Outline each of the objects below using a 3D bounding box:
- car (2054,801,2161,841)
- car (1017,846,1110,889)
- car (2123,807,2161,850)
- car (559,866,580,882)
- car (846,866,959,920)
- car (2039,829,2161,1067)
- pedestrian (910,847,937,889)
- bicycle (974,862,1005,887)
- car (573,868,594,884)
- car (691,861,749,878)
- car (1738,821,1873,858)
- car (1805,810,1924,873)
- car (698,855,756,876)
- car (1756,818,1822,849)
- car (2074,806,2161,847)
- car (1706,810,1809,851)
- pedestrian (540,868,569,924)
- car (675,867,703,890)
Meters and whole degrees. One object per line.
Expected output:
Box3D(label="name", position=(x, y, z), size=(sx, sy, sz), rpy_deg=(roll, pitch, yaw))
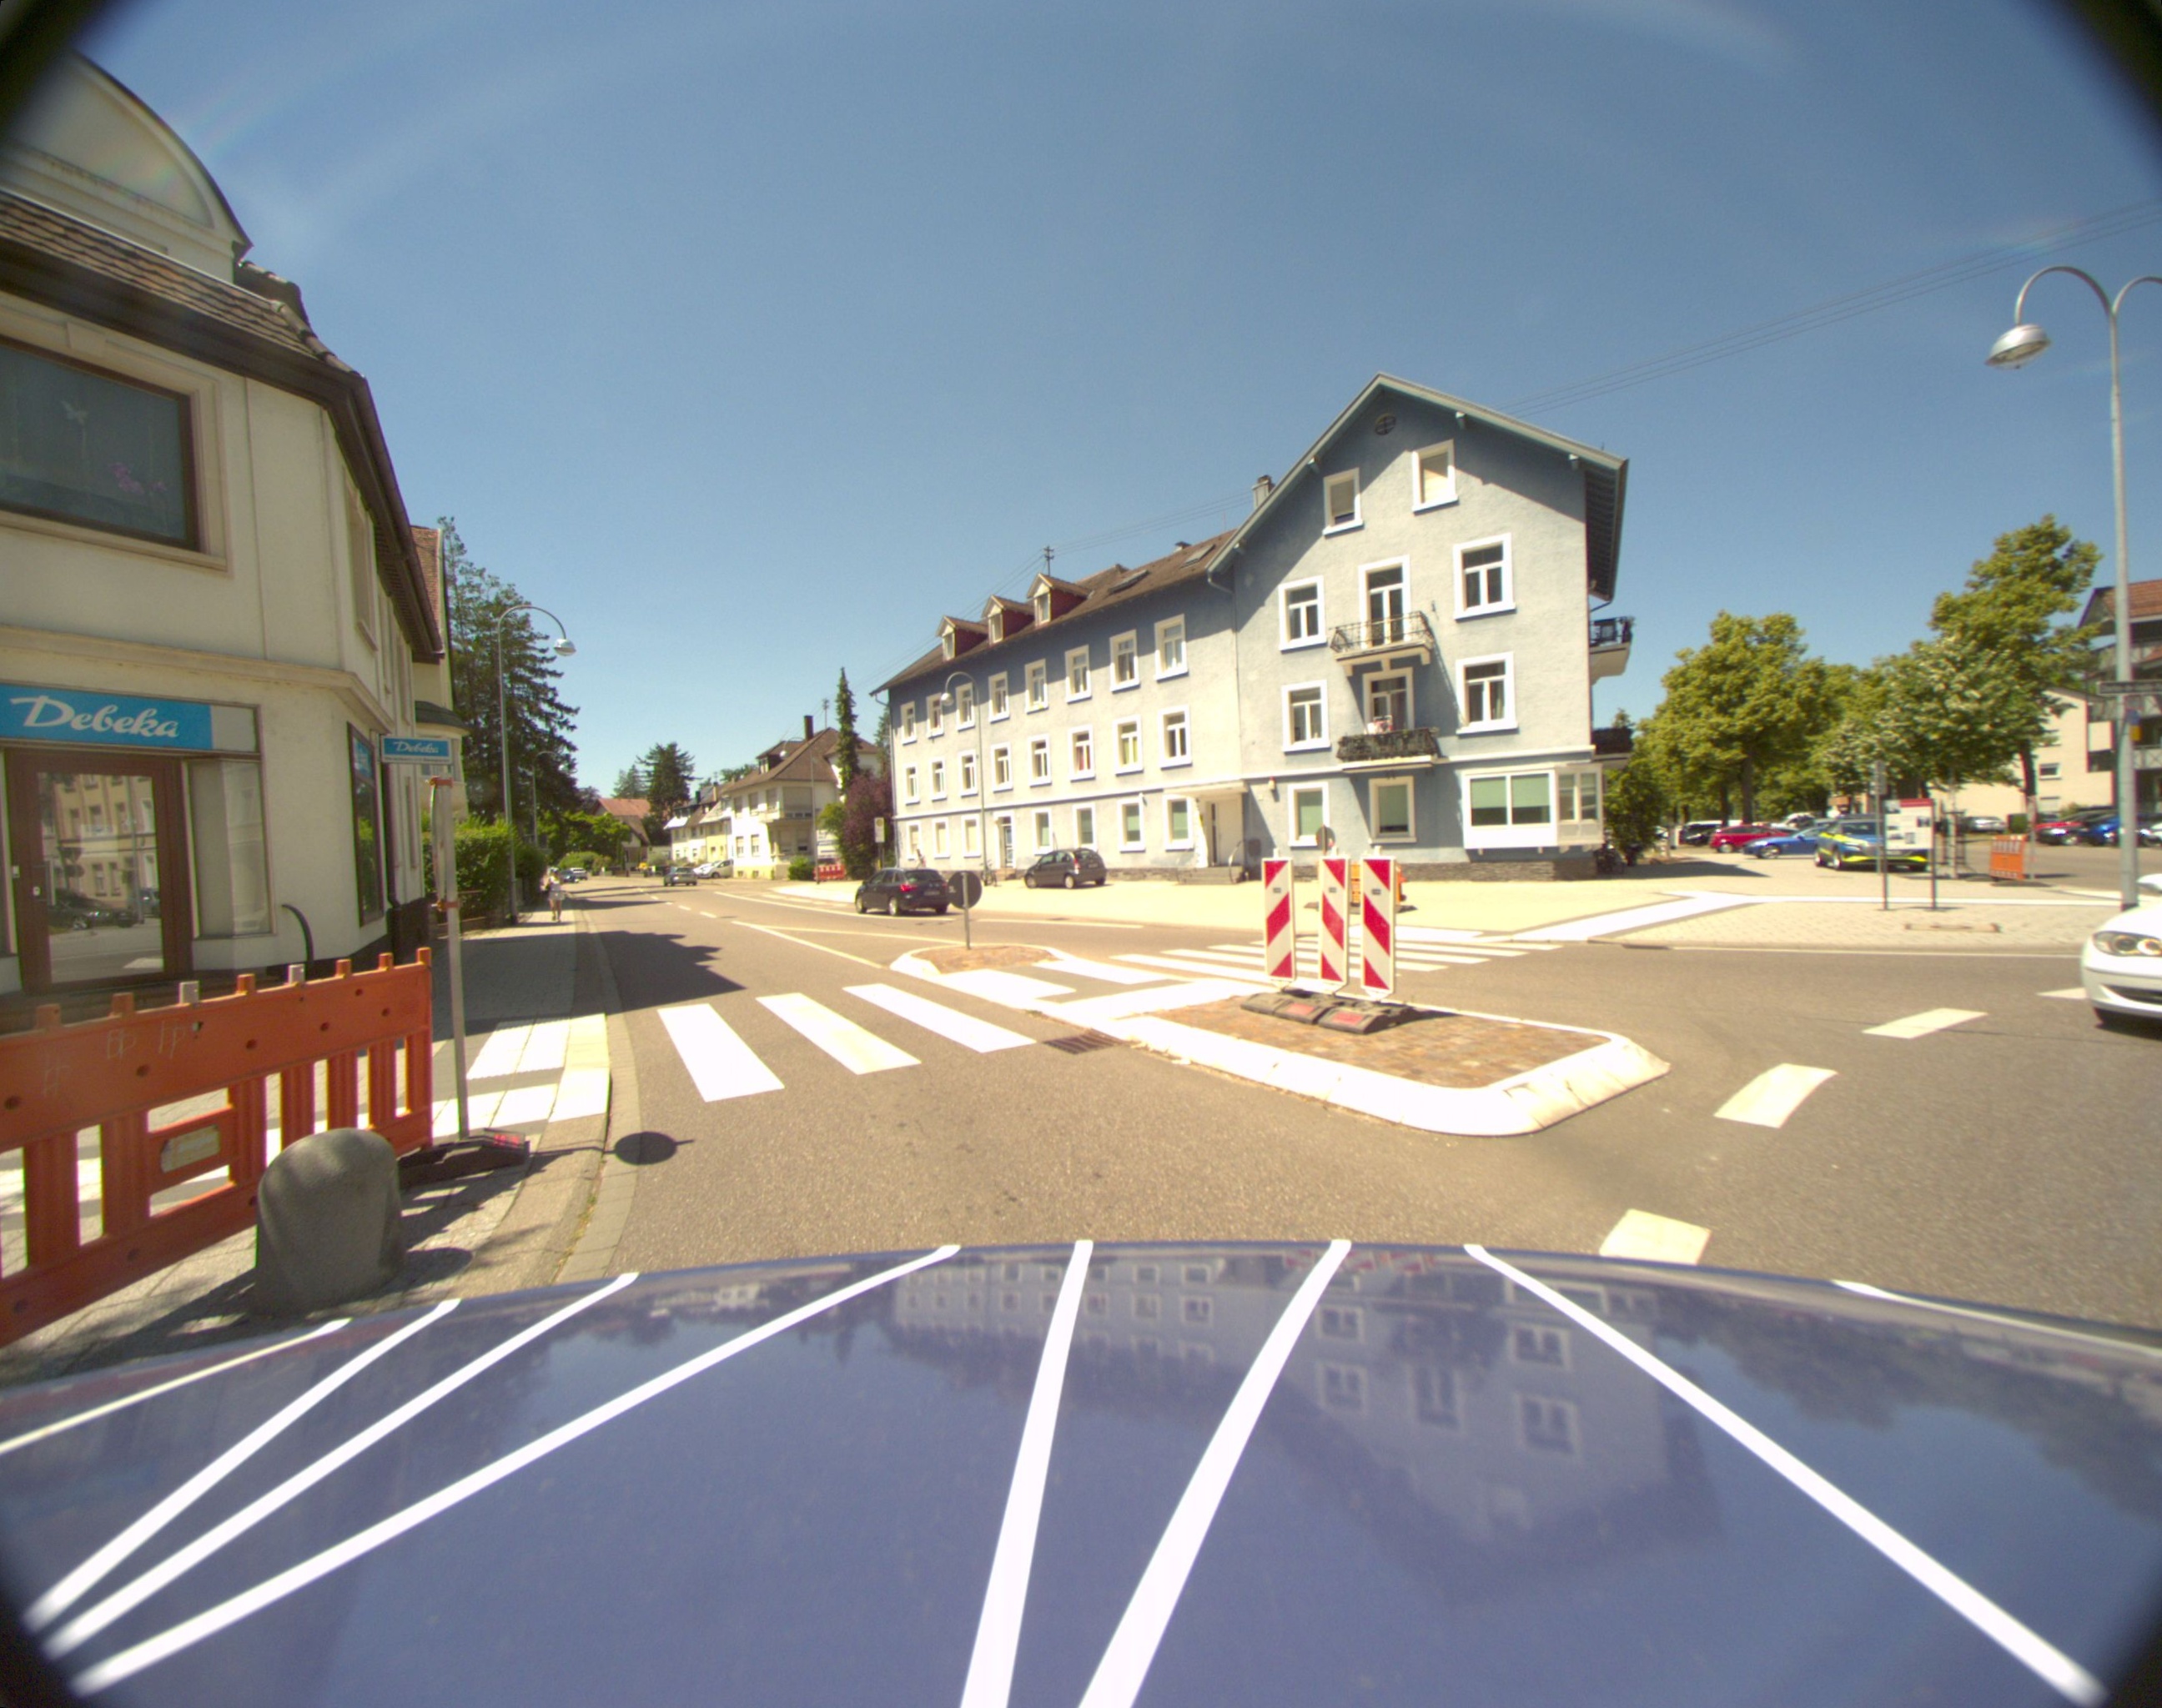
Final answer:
Box3D(label="car", position=(47.135, -1.480, 33.789), size=(4.361, 1.660, 1.986), rpy_deg=(-2, 0, 34))
Box3D(label="car", position=(-0.735, 0.476, 29.914), size=(1.585, 1.526, 3.764), rpy_deg=(-4, 3, -40))
Box3D(label="car", position=(44.405, -1.075, 29.429), size=(4.361, 1.660, 1.986), rpy_deg=(-2, 0, 34))
Box3D(label="car", position=(-53.731, 2.104, 79.782), size=(1.692, 1.447, 3.730), rpy_deg=(-5, 2, -35))
Box3D(label="car", position=(-5.483, 1.128, 23.037), size=(1.668, 1.443, 4.012), rpy_deg=(-2, 0, -40))
Box3D(label="car", position=(9.098, 0.541, 5.234), size=(4.131, 1.541, 1.785), rpy_deg=(-2, -1, -19))
Box3D(label="pedestrian", position=(-7.277, 0.634, 35.059), size=(0.759, 1.838, 0.770), rpy_deg=(-8, 4, -42))
Box3D(label="bicycle", position=(-3.957, 0.882, 32.807), size=(0.498, 0.972, 1.968), rpy_deg=(-8, 5, -30))
Box3D(label="car", position=(-58.011, 2.550, 88.586), size=(1.829, 1.521, 3.939), rpy_deg=(-3, 3, -36))
Box3D(label="car", position=(-33.819, 1.436, 71.202), size=(4.494, 1.486, 1.971), rpy_deg=(-1, 0, -39))
Box3D(label="car", position=(31.343, -0.604, 33.029), size=(4.021, 1.352, 1.663), rpy_deg=(-2, 4, 35))
Box3D(label="car", position=(24.403, -0.427, 23.830), size=(1.776, 1.767, 4.251), rpy_deg=(-2, 1, 35))
Box3D(label="car", position=(-32.274, 1.047, 69.315), size=(1.845, 1.866, 4.374), rpy_deg=(-1, 0, 43))
Box3D(label="car", position=(40.758, -1.186, 43.854), size=(2.278, 1.683, 4.135), rpy_deg=(0, 1, 35))
Box3D(label="car", position=(45.687, -1.185, 31.936), size=(4.361, 1.660, 1.986), rpy_deg=(-2, 0, 34))
Box3D(label="car", position=(36.890, -1.275, 41.556), size=(3.989, 2.003, 2.003), rpy_deg=(-2, 3, 35))
Box3D(label="pedestrian", position=(-15.789, 1.257, 22.772), size=(0.626, 1.634, 0.770), rpy_deg=(3, -2, -38))
Box3D(label="car", position=(-30.009, 1.921, 58.217), size=(1.847, 1.520, 4.386), rpy_deg=(2, -5, -27))
